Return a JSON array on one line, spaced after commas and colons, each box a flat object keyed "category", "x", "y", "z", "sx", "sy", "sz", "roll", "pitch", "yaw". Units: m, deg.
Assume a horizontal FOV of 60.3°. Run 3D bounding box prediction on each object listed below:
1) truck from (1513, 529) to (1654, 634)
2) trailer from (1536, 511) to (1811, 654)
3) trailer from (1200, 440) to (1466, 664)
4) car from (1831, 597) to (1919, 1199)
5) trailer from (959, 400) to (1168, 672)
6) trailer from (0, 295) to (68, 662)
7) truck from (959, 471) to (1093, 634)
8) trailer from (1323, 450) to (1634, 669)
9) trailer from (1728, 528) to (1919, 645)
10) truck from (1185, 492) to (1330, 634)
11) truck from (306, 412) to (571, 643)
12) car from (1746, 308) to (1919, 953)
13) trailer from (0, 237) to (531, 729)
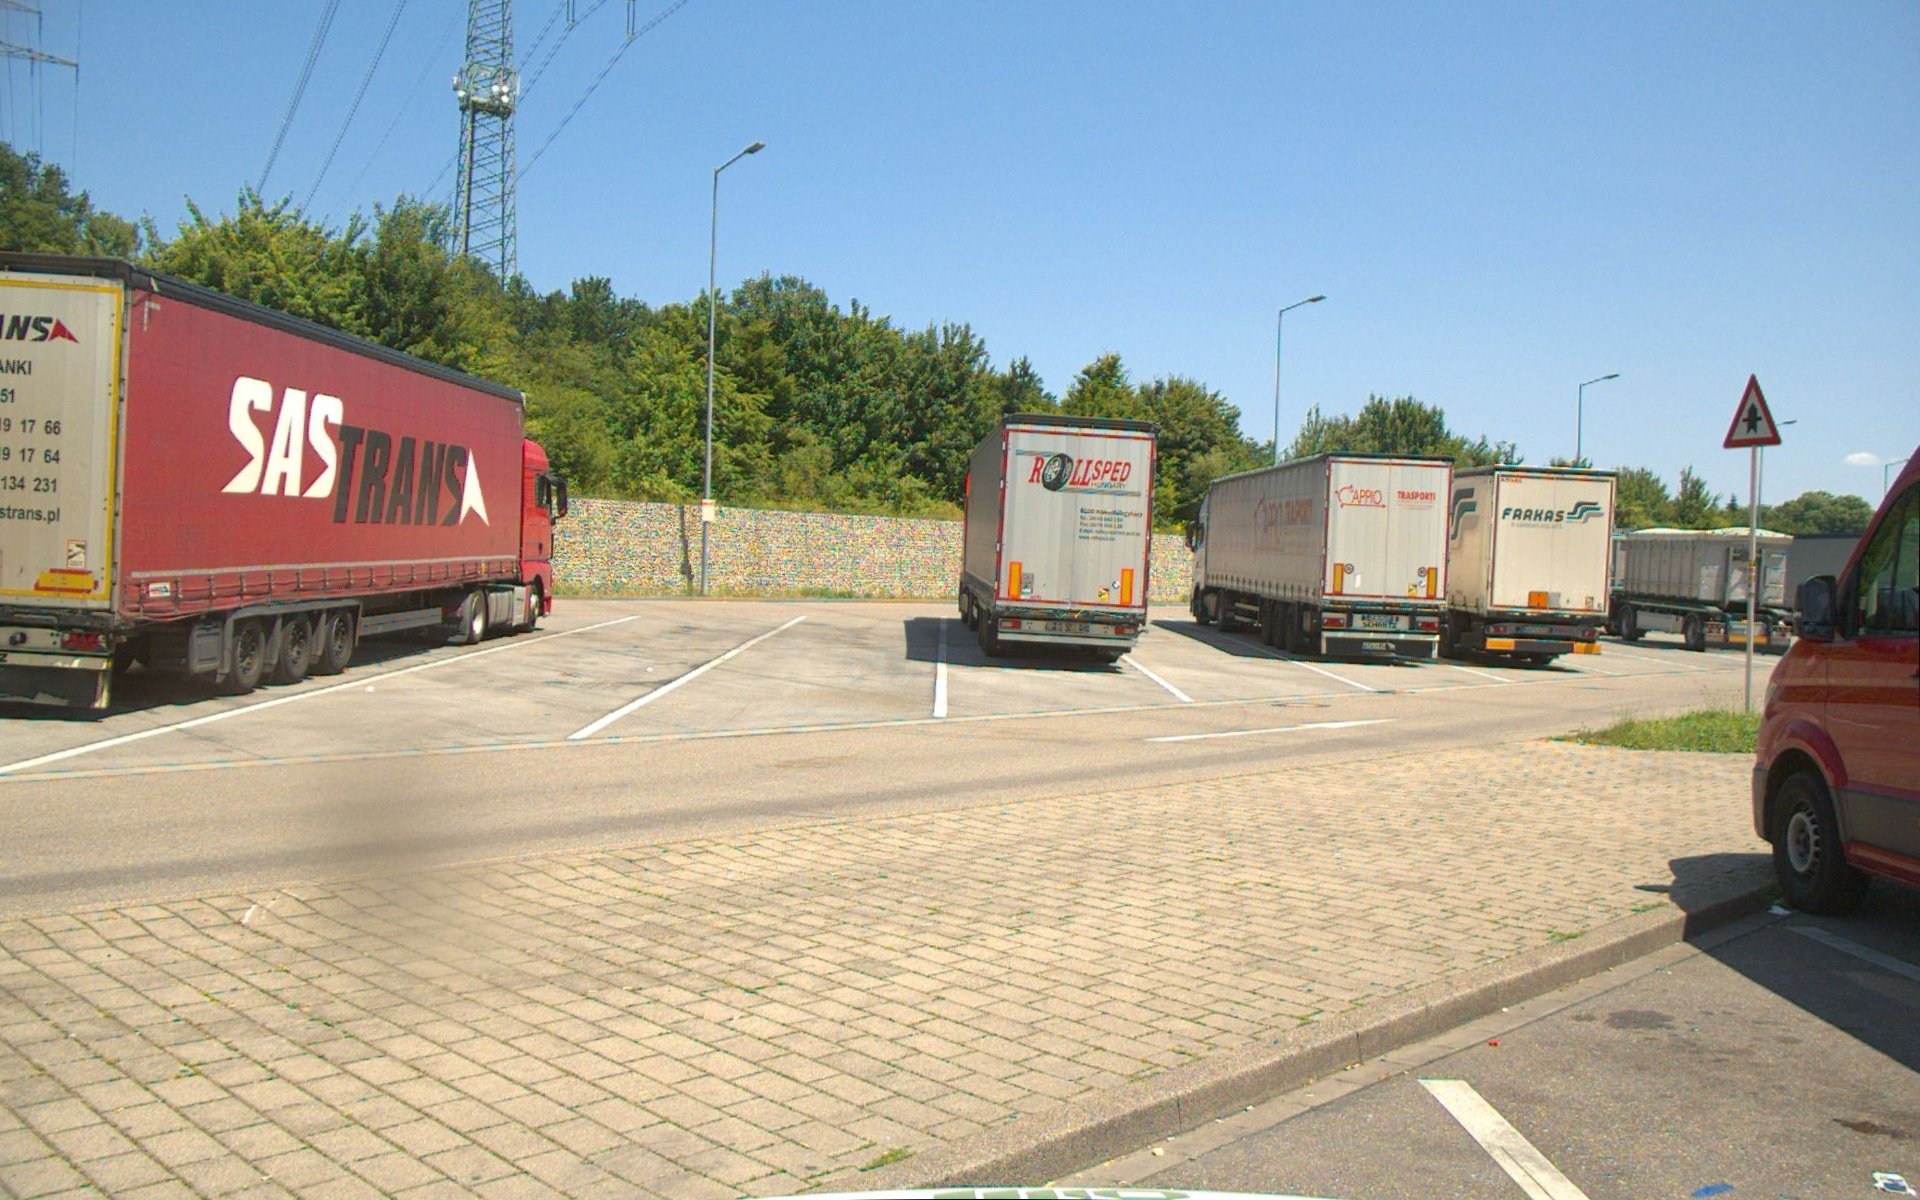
[{"category": "truck", "x": 22.009, "y": -0.713, "z": 58.686, "sx": 2.794, "sy": 3.423, "sz": 5.484, "roll": 3, "pitch": 2, "yaw": 0}, {"category": "trailer", "x": 21.927, "y": -0.683, "z": 52.181, "sx": 2.780, "sy": 3.781, "sz": 13.726, "roll": 3, "pitch": 2, "yaw": 1}, {"category": "trailer", "x": 8.208, "y": -1.139, "z": 38.804, "sx": 2.781, "sy": 4.204, "sz": 13.722, "roll": 2, "pitch": 2, "yaw": -1}, {"category": "car", "x": 2.589, "y": 0.798, "z": 1.133, "sx": 1.703, "sy": 1.508, "sz": 3.813, "roll": 1, "pitch": 1, "yaw": -6}, {"category": "trailer", "x": 1.646, "y": -1.233, "z": 33.217, "sx": 2.848, "sy": 4.204, "sz": 13.720, "roll": 2, "pitch": 2, "yaw": -1}, {"category": "trailer", "x": -12.531, "y": -1.313, "z": 15.684, "sx": 2.673, "sy": 4.282, "sz": 10.170, "roll": 2, "pitch": 2, "yaw": -1}, {"category": "truck", "x": 1.479, "y": -1.145, "z": 39.826, "sx": 2.794, "sy": 3.544, "sz": 5.482, "roll": 2, "pitch": 2, "yaw": -1}, {"category": "trailer", "x": 11.767, "y": -1.017, "z": 39.609, "sx": 2.781, "sy": 4.204, "sz": 13.722, "roll": 2, "pitch": 2, "yaw": -1}, {"category": "trailer", "x": 34.941, "y": -0.639, "z": 65.383, "sx": 2.780, "sy": 4.119, "sz": 13.726, "roll": 3, "pitch": 2, "yaw": 1}, {"category": "truck", "x": 8.094, "y": -1.039, "z": 45.614, "sx": 2.794, "sy": 3.544, "sz": 5.482, "roll": 2, "pitch": 2, "yaw": -1}, {"category": "truck", "x": -8.798, "y": -1.210, "z": 28.602, "sx": 2.794, "sy": 3.487, "sz": 5.482, "roll": 2, "pitch": 2, "yaw": -1}, {"category": "car", "x": 5.001, "y": 0.164, "z": 5.537, "sx": 2.023, "sy": 2.742, "sz": 6.397, "roll": 1, "pitch": 1, "yaw": 4}, {"category": "trailer", "x": -8.685, "y": -1.300, "z": 21.166, "sx": 2.848, "sy": 4.203, "sz": 13.723, "roll": 2, "pitch": 2, "yaw": -1}]
